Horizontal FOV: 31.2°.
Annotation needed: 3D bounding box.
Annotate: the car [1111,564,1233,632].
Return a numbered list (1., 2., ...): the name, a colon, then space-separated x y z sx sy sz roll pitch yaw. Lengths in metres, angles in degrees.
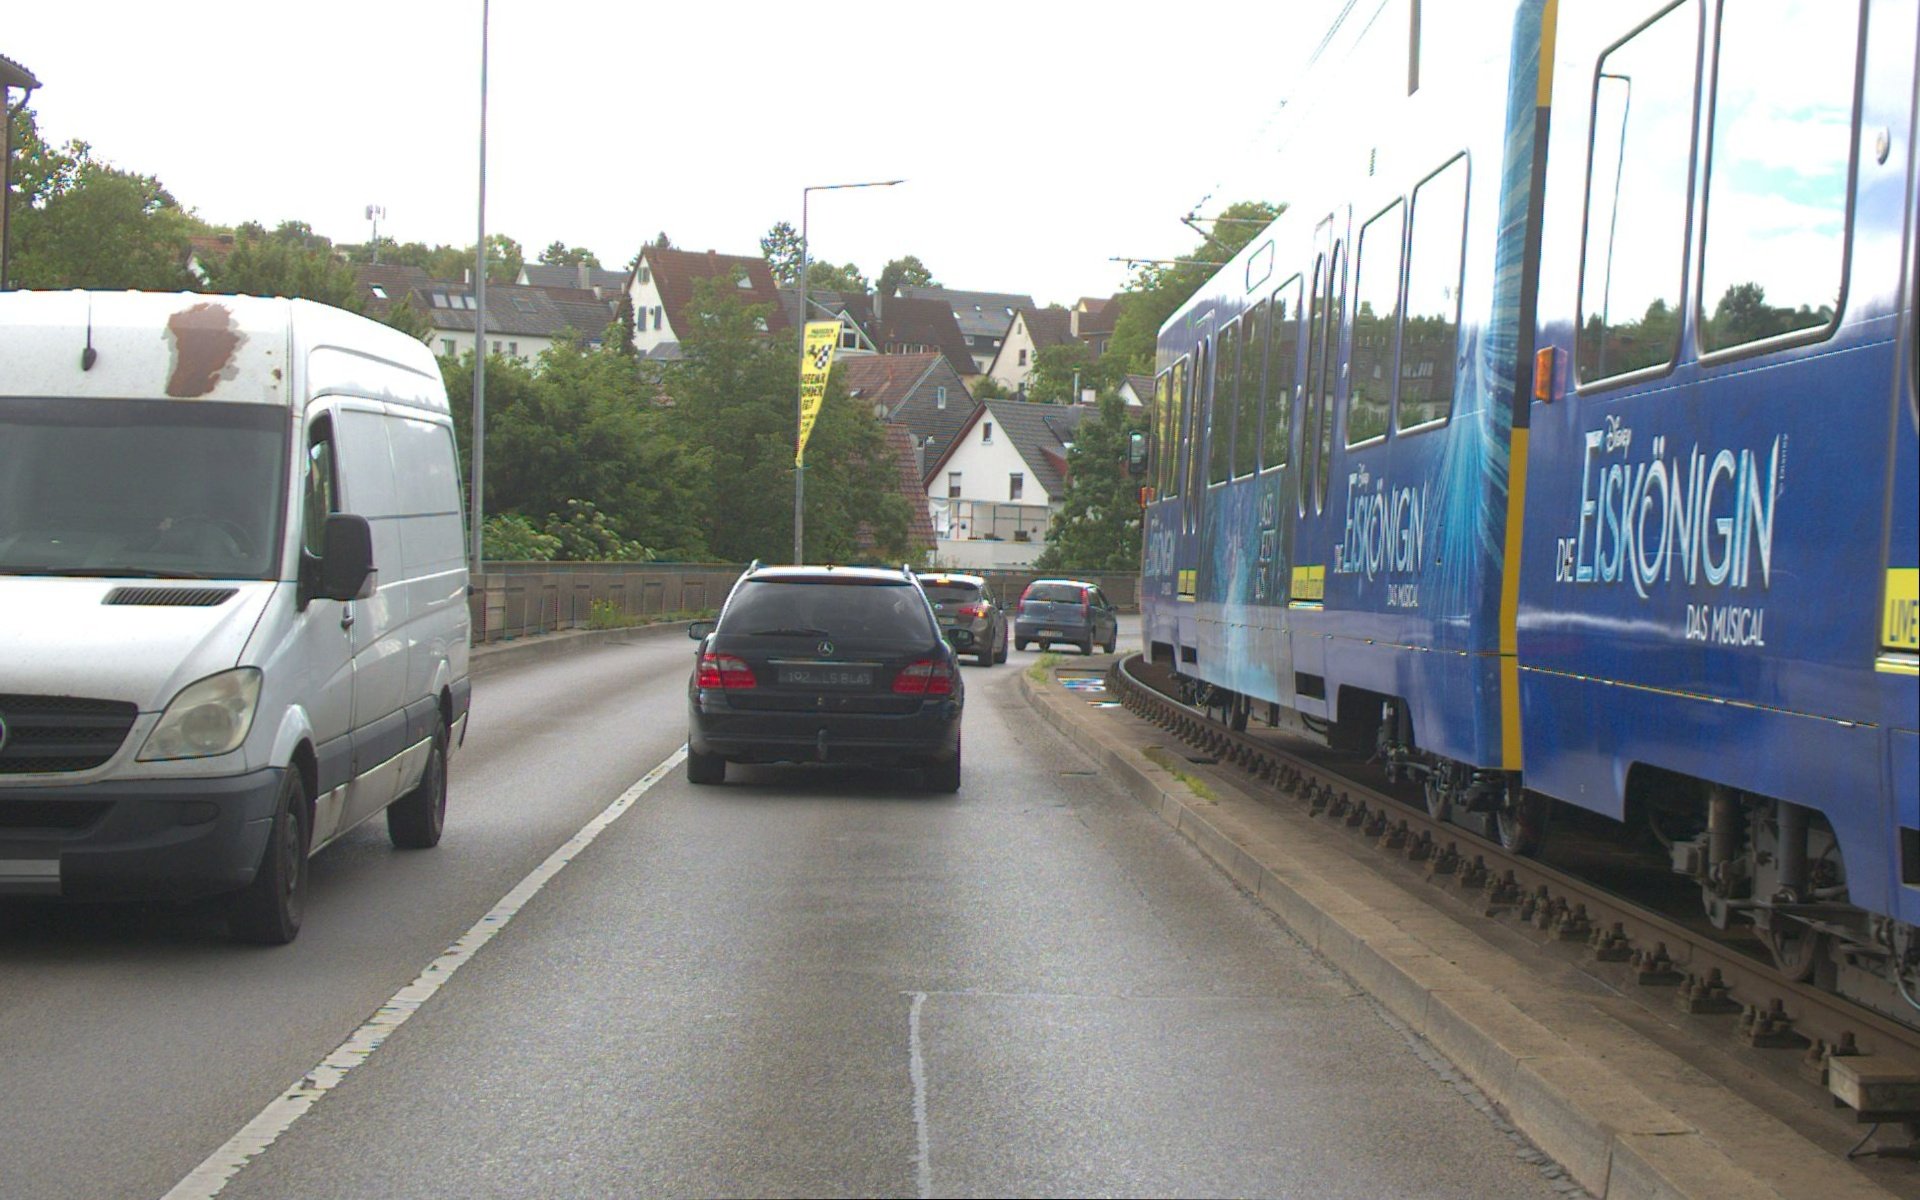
1. car: 5.156 -0.045 83.121 1.772 1.550 4.236 2 0 20

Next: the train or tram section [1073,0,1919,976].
1. train or tram section: 2.895 -0.588 22.709 2.793 3.751 19.894 2 0 -2

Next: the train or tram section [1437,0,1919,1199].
1. train or tram section: 3.439 -0.389 2.853 2.784 3.643 19.894 -1 1 -1

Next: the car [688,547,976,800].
1. car: -0.873 0.427 23.752 1.759 1.510 4.443 2 1 -2

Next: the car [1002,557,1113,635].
1. car: 2.068 -0.103 71.737 1.793 1.550 4.384 1 1 9

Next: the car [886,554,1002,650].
1. car: -0.235 -0.001 58.880 1.770 1.550 4.240 0 1 3

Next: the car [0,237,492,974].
1. car: -3.525 -0.073 15.420 2.033 2.552 7.008 0 1 -1
